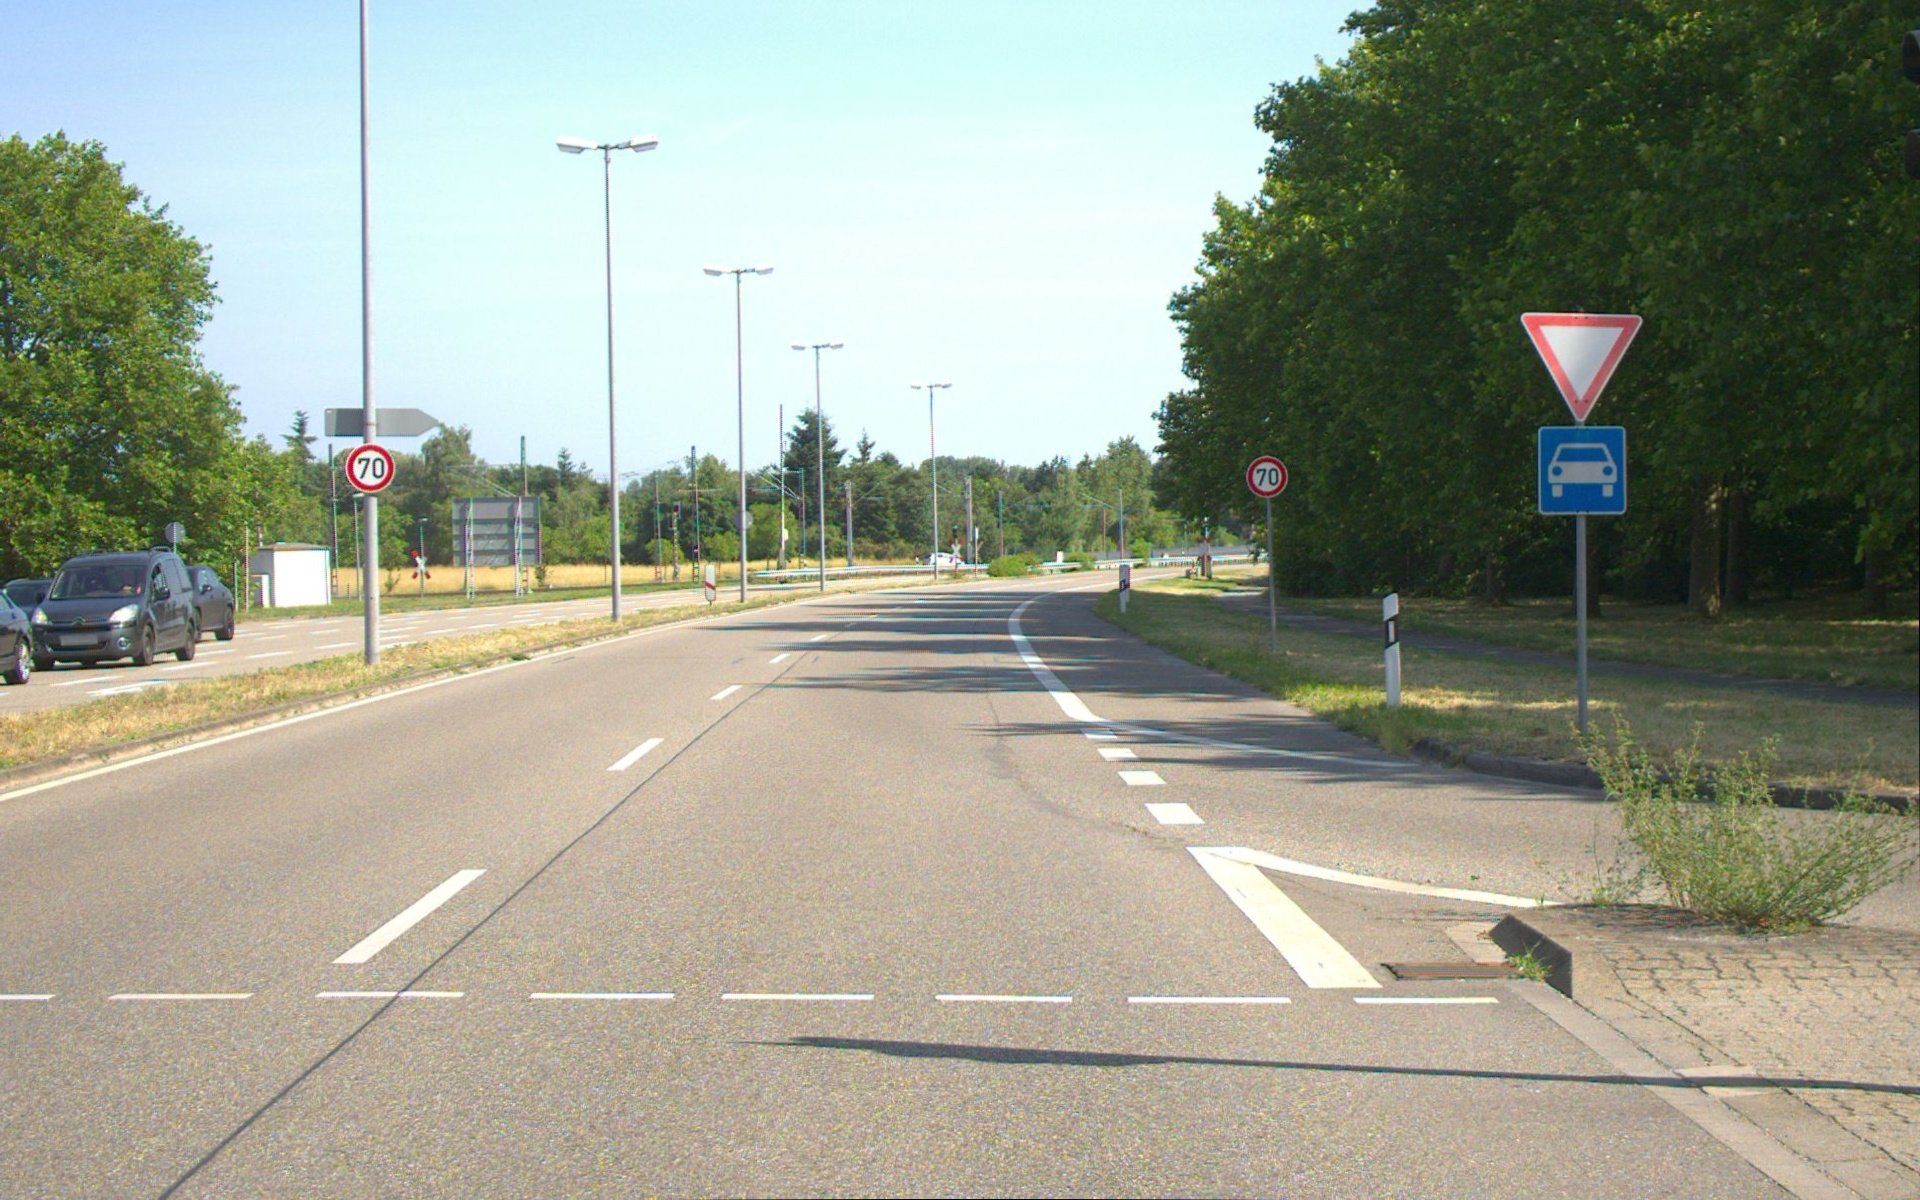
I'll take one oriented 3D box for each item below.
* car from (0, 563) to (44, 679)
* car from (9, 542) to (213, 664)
[{"bbox_3d":[-13.062,0.284,42.783,1.981,1.452,4.450,-1,1,2],"label":"car"},{"bbox_3d":[-13.061,0.020,53.157,1.981,1.773,4.490,-1,1,1],"label":"car"}]
